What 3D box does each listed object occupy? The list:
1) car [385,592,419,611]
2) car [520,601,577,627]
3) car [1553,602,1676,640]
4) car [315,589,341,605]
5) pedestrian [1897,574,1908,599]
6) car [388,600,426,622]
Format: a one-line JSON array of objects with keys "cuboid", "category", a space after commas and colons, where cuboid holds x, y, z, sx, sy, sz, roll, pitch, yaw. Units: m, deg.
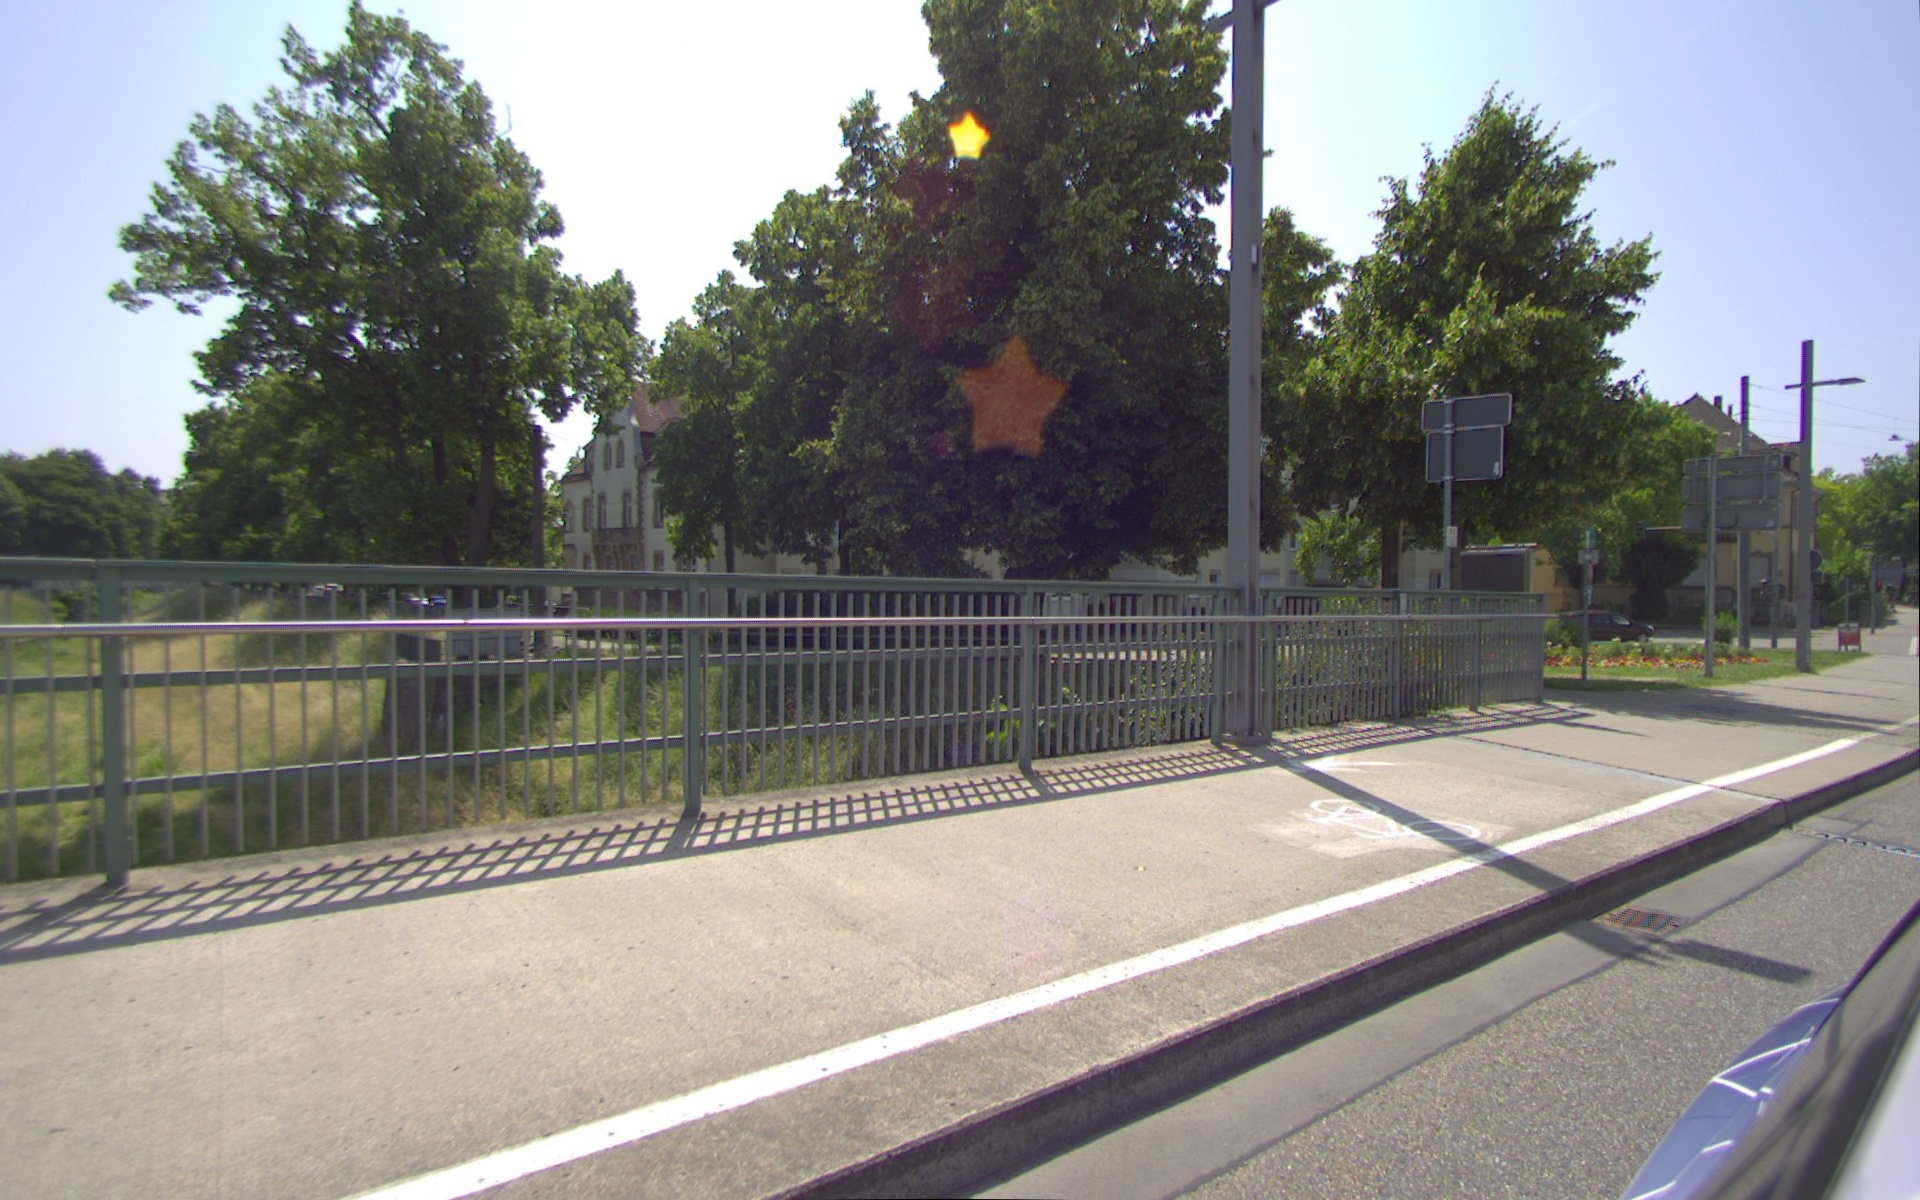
[{"cuboid": [-48.501, 0.119, 87.899, 1.796, 1.572, 3.993, 0, 0, -41], "category": "car"}, {"cuboid": [-25.474, 0.875, 62.565, 3.987, 1.572, 1.799, -1, 0, 44], "category": "car"}, {"cuboid": [32.311, 1.020, 50.036, 4.731, 1.652, 1.917, -1, 2, 4], "category": "car"}, {"cuboid": [-68.914, -0.316, 110.365, 1.796, 1.572, 3.993, 0, -1, -41], "category": "car"}, {"cuboid": [76.564, -1.096, 82.204, 0.619, 1.942, 0.732, 2, 3, 44], "category": "pedestrian"}, {"cuboid": [-40.691, 0.832, 74.456, 1.563, 1.572, 3.740, 0, 0, -43], "category": "car"}]
